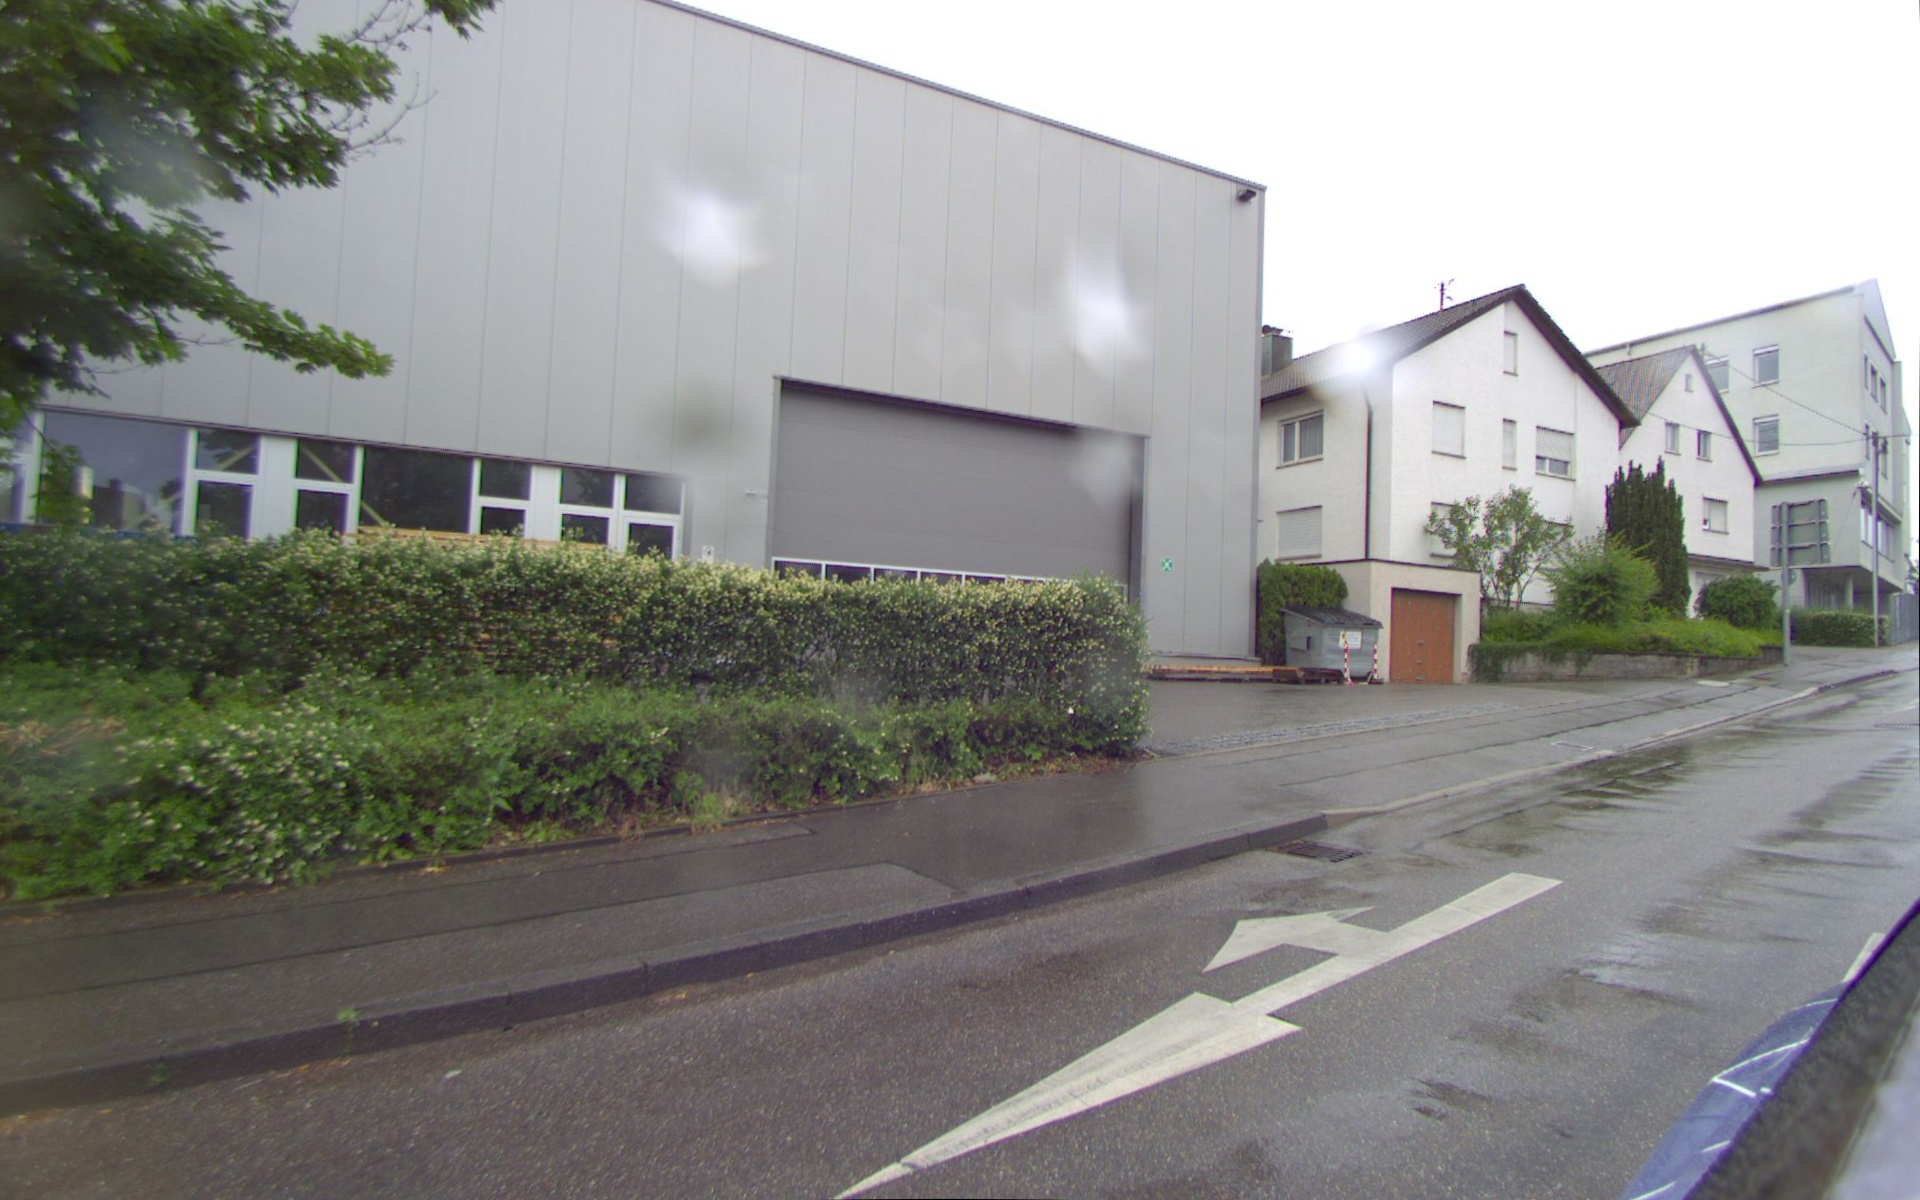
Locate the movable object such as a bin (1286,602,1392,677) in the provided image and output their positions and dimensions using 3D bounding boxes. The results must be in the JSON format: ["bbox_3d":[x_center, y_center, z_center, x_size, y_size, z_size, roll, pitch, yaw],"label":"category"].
[{"bbox_3d":[8.157,0.835,21.802,1.742,1.537,1.268,1,0,-25],"label":"movable object such as a bin"}]
